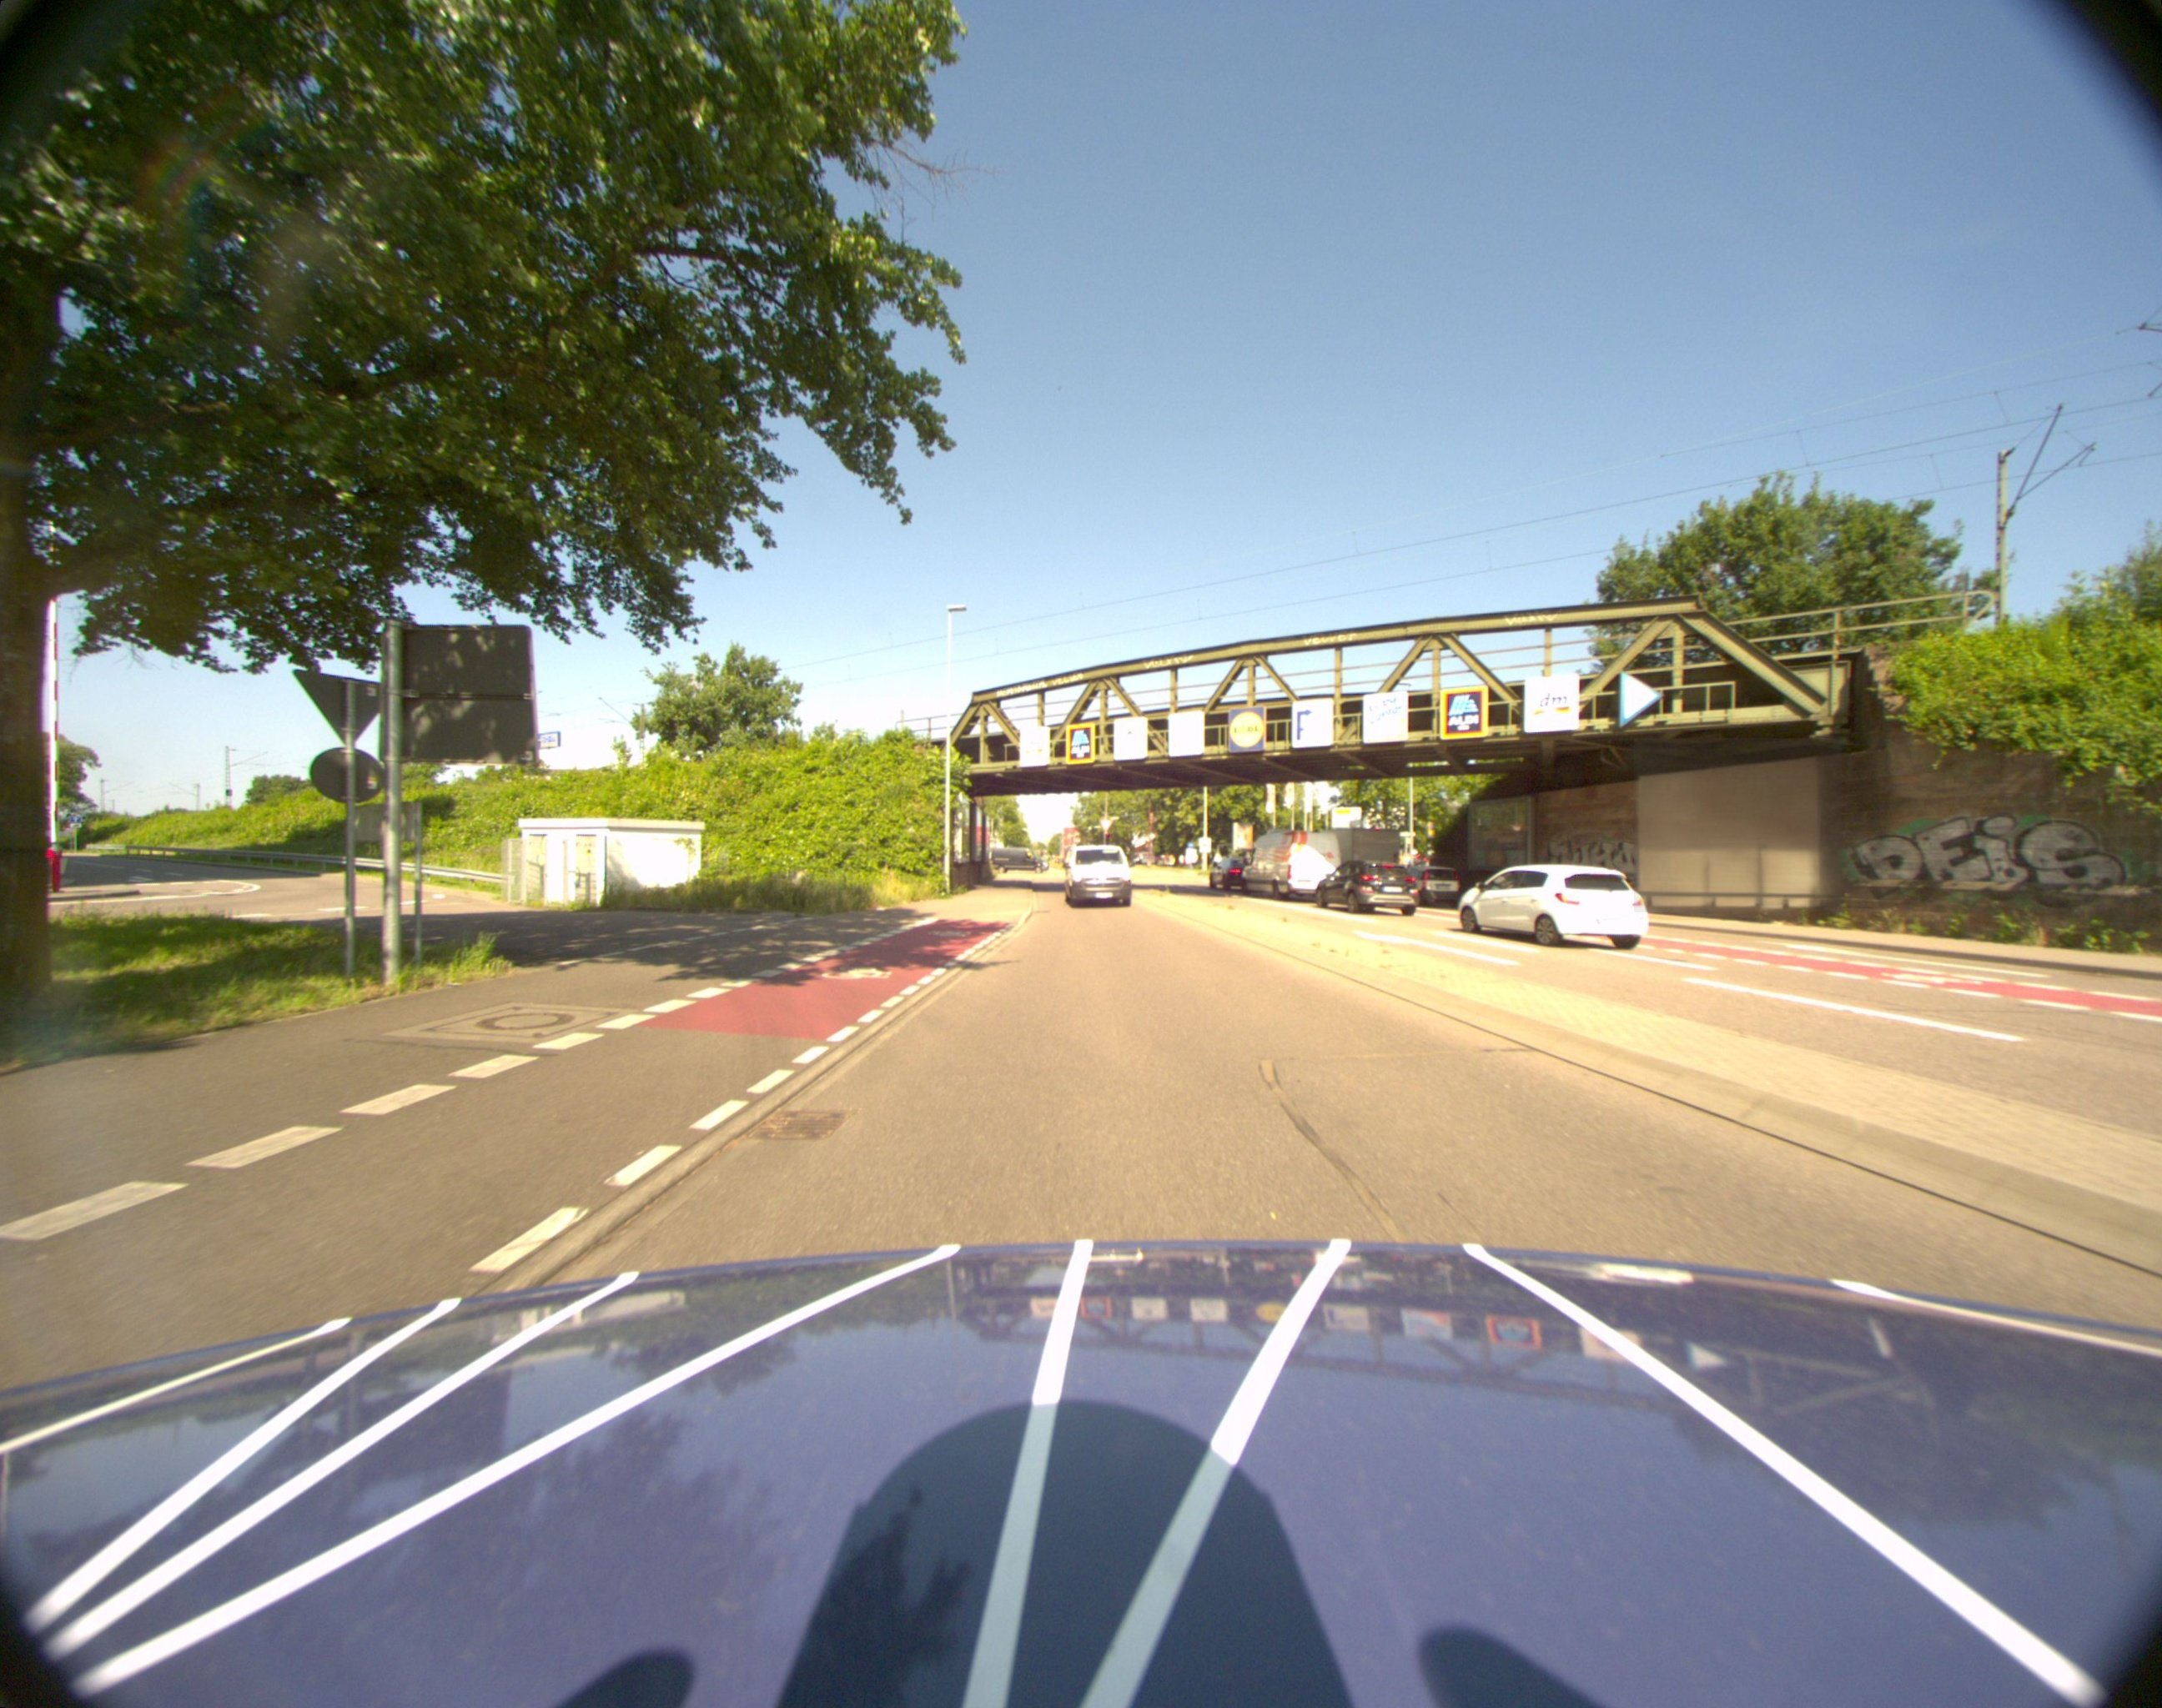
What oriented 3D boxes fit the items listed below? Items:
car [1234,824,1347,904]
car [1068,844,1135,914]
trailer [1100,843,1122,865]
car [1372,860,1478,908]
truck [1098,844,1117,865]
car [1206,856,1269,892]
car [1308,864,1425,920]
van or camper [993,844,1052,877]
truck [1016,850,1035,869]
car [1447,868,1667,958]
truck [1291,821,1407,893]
[{"bbox_3d":[8.133,0.365,30.420,1.999,2.788,6.934,2,0,-5],"label":"car"},{"bbox_3d":[0.662,0.716,24.054,1.886,1.982,4.975,0,0,2],"label":"car"},{"bbox_3d":[5.712,0.067,148.311,2.940,3.938,12.138,-2,-1,-3],"label":"trailer"},{"bbox_3d":[13.241,1.144,29.582,1.989,1.679,4.287,2,-1,-3],"label":"car"},{"bbox_3d":[5.333,0.221,154.354,2.940,3.966,8.152,-2,-1,-3],"label":"truck"},{"bbox_3d":[7.870,0.966,38.665,1.999,1.671,4.949,0,0,-2],"label":"car"},{"bbox_3d":[8.476,1.085,22.987,1.773,1.485,4.177,2,-1,-3],"label":"car"},{"bbox_3d":[-5.874,0.652,76.972,5.778,3.136,2.600,-2,-1,-1],"label":"van or camper"},{"bbox_3d":[-8.702,0.847,119.313,2.411,2.845,5.801,-2,-1,-9],"label":"truck"},{"bbox_3d":[8.956,1.035,14.722,1.647,1.485,3.828,2,-1,-4],"label":"car"},{"bbox_3d":[12.440,0.131,35.991,2.348,3.070,7.065,0,0,-6],"label":"truck"}]
